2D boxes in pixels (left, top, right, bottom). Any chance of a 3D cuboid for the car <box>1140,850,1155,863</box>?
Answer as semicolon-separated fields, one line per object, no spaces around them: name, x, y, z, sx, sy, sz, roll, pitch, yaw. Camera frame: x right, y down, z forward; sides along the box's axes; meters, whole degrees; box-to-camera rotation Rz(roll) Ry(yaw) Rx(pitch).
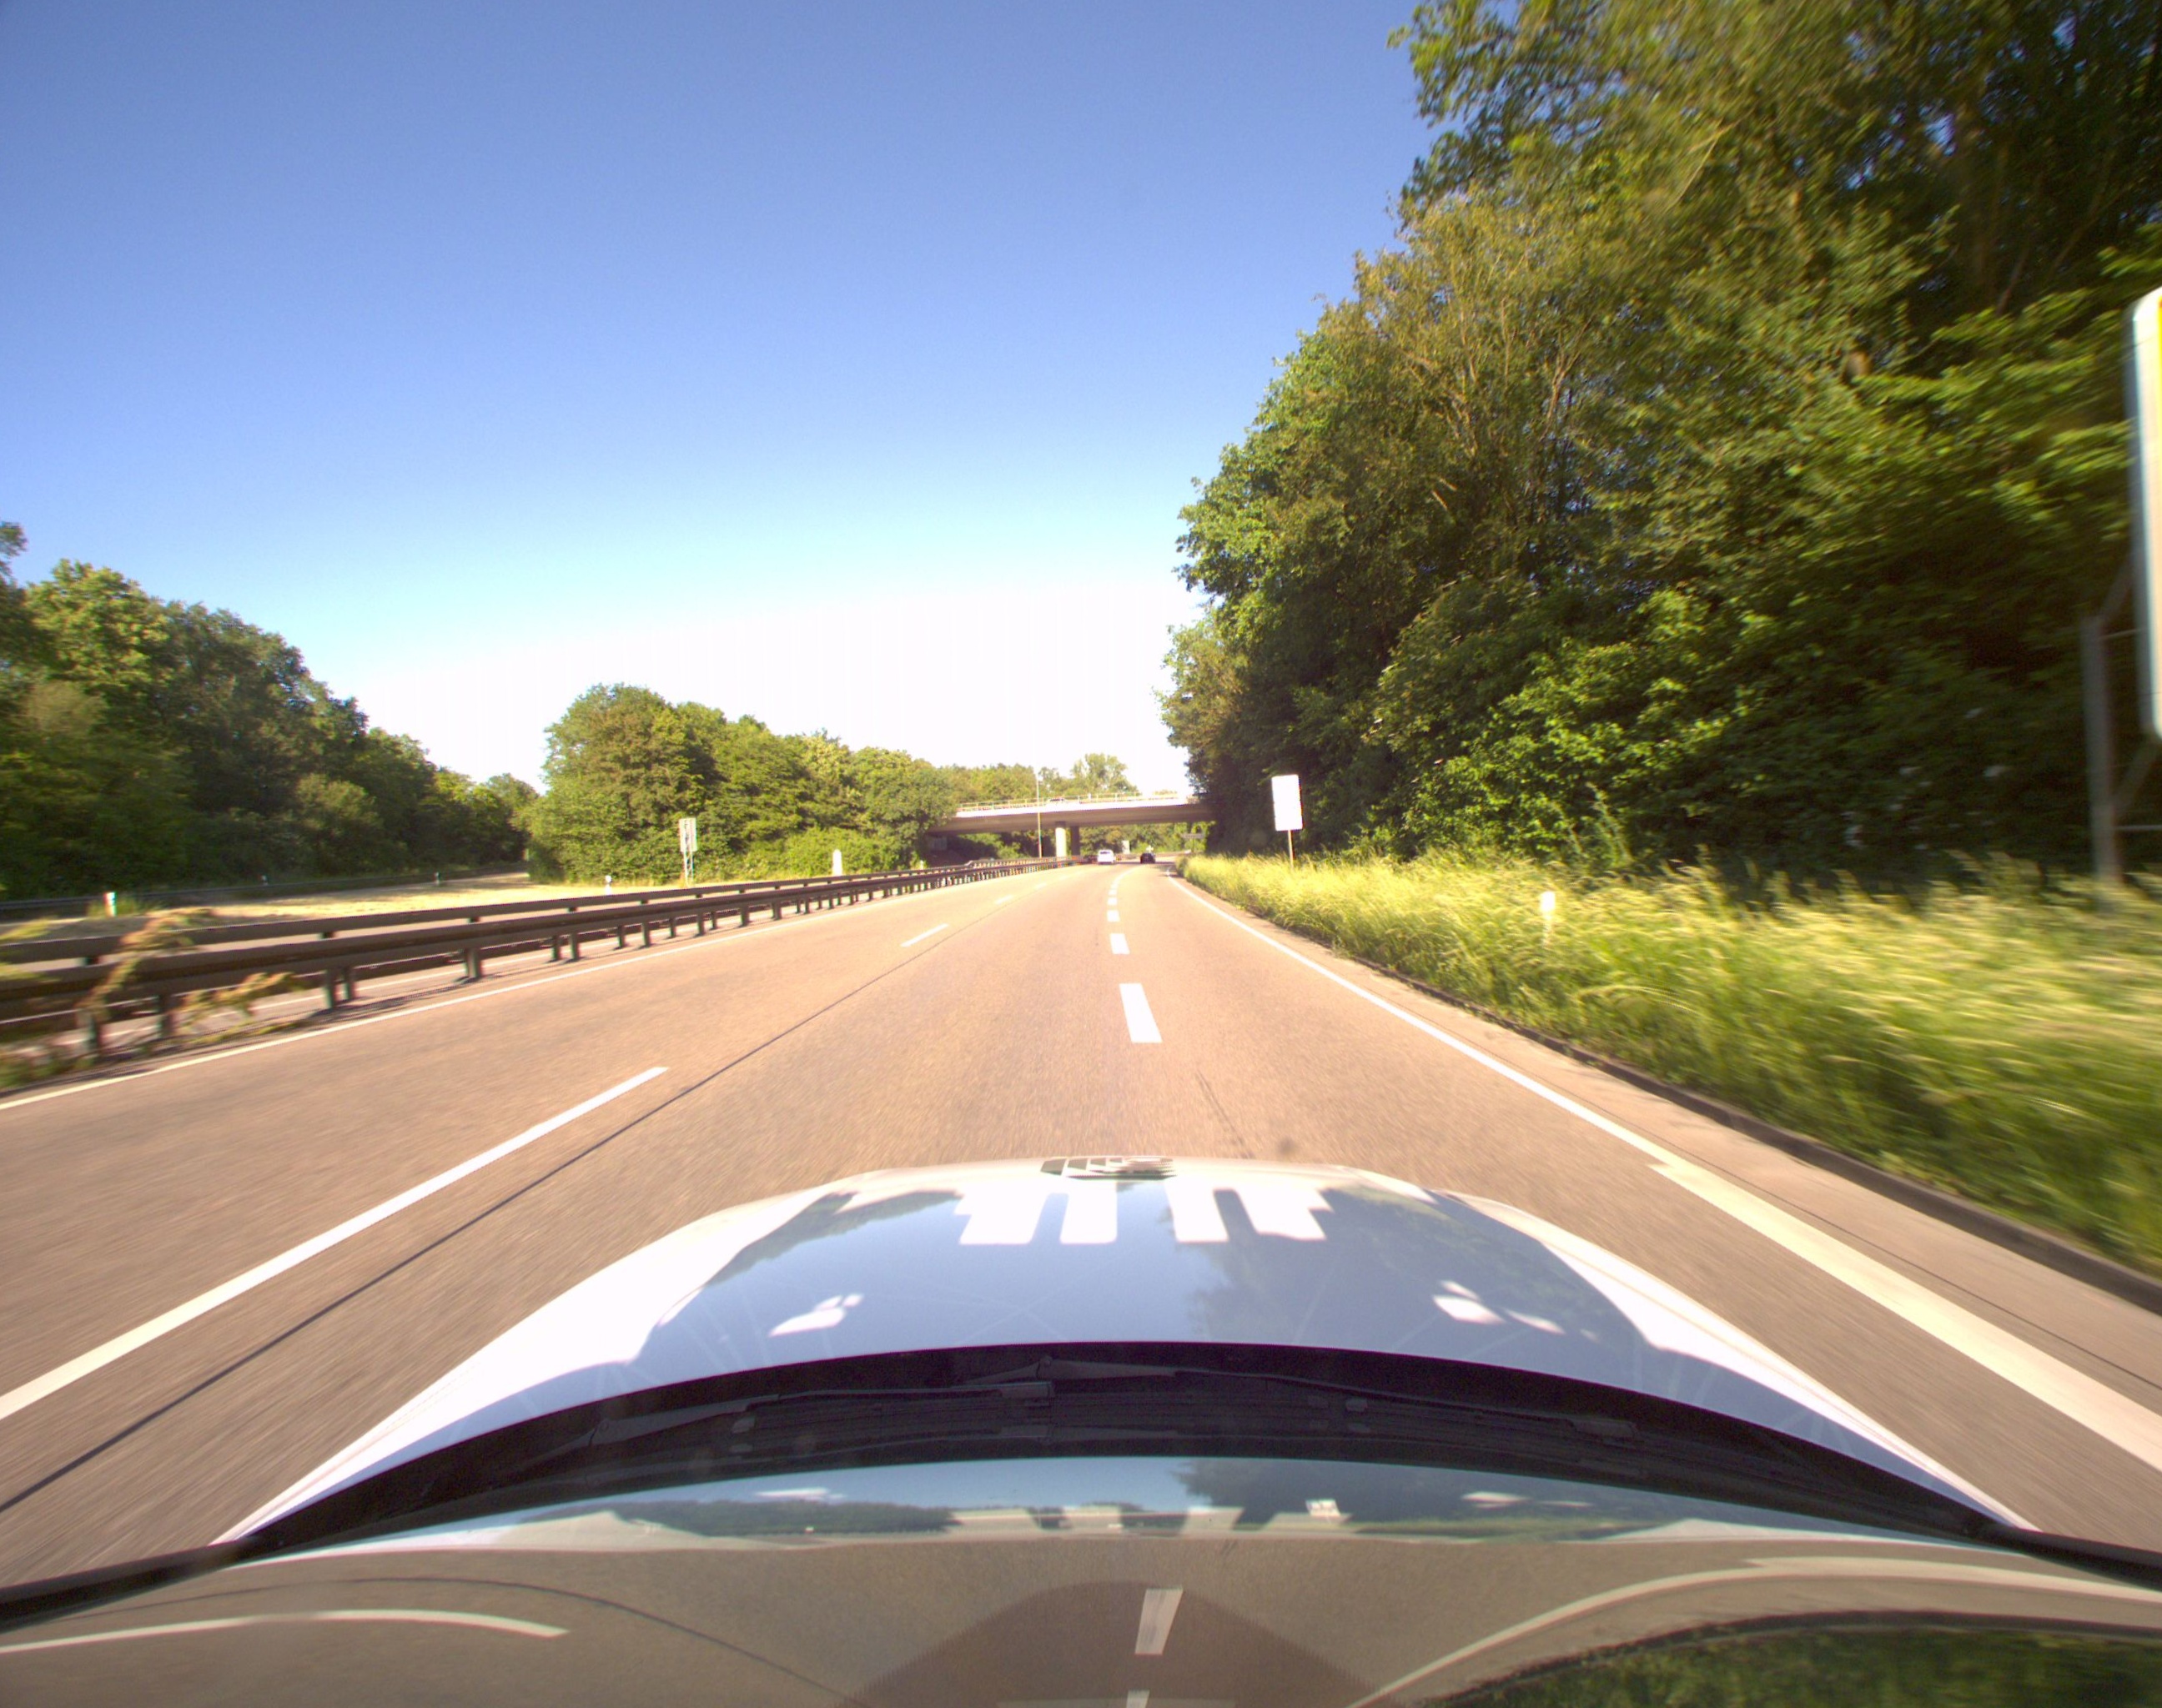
car;9.039;0.279;110.051;1.729;1.662;3.955;-2;0;8

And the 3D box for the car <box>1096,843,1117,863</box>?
car;3.064;-0.120;98.395;1.982;2.277;4.010;-2;0;9
